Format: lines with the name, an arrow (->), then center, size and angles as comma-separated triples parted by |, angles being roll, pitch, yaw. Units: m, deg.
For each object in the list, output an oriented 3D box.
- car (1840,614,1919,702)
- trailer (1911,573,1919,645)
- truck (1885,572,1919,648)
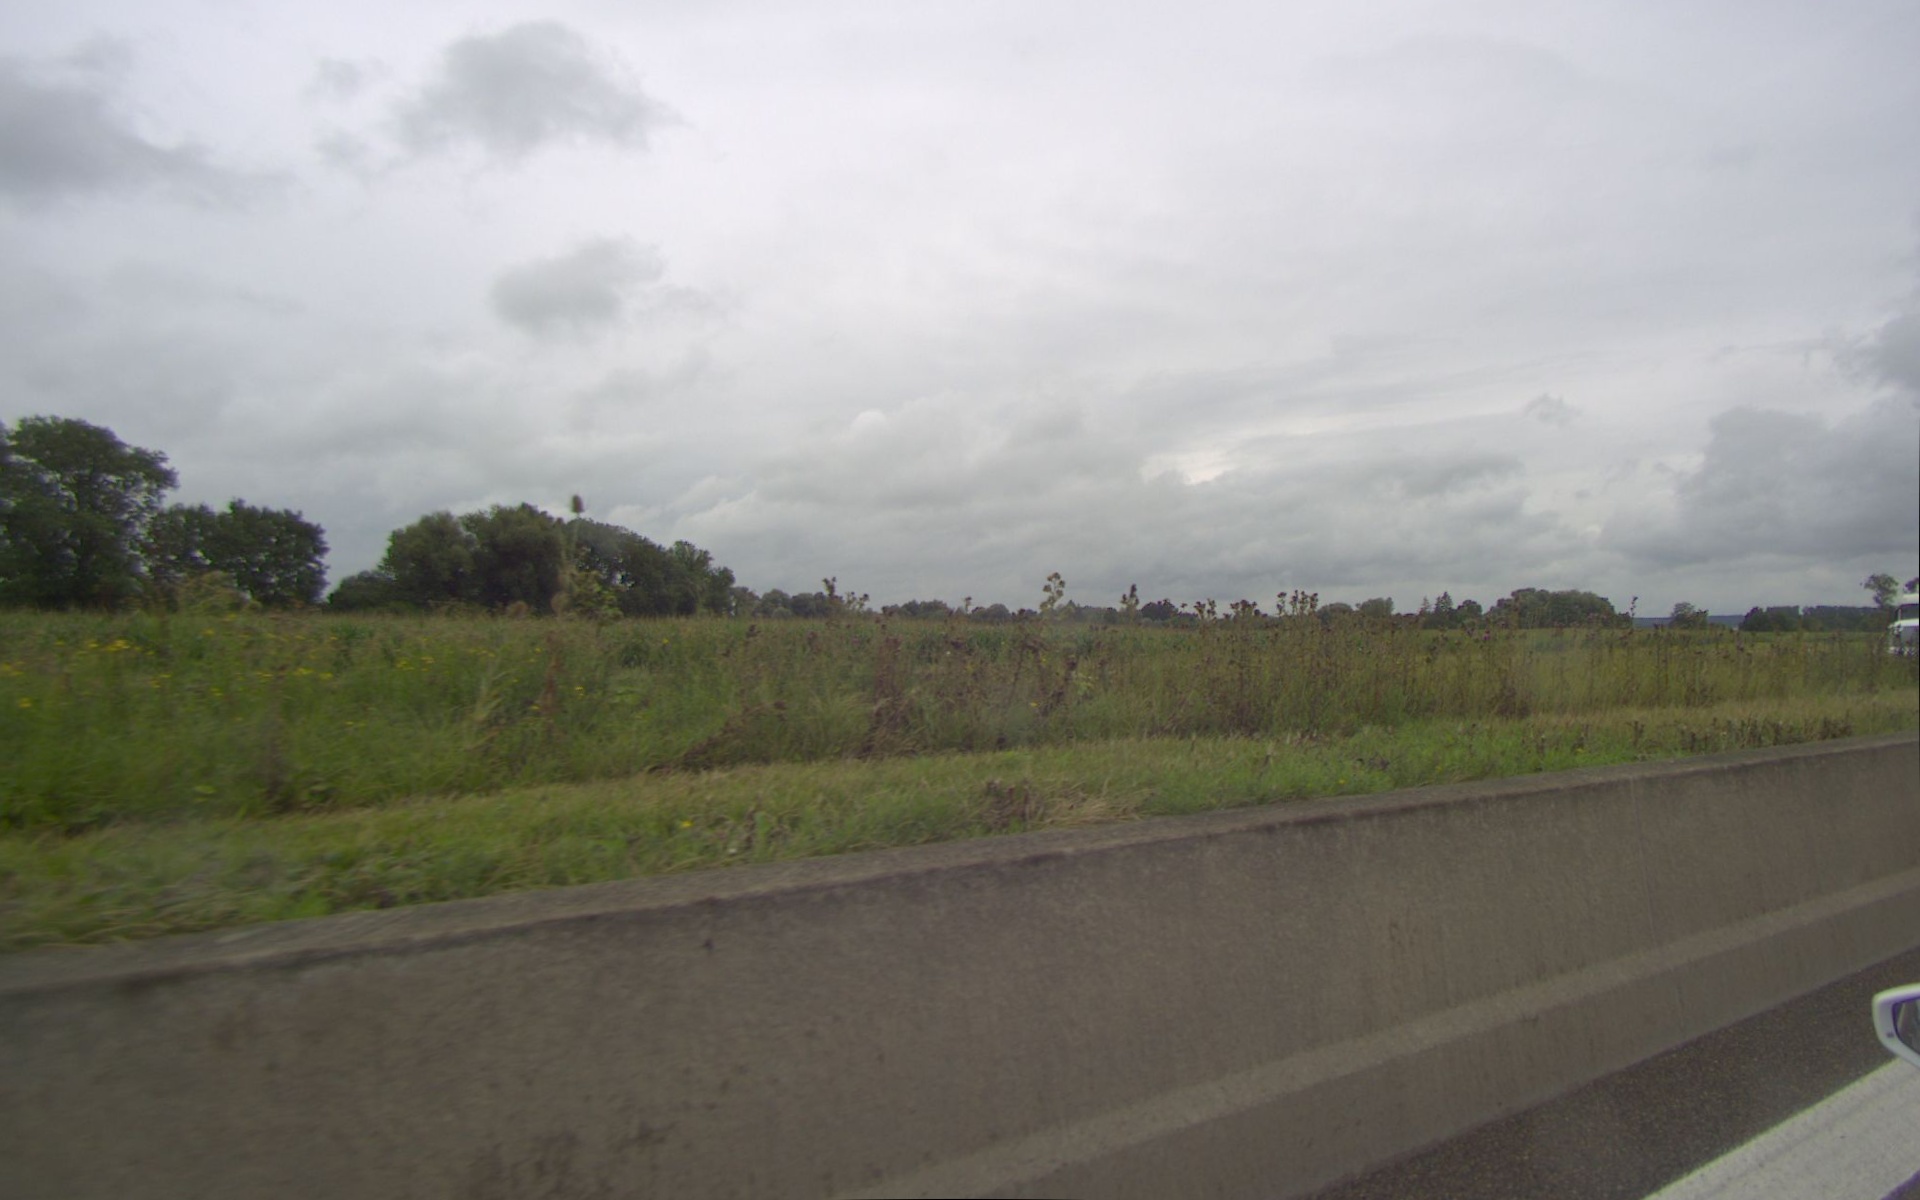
car -> 24.267, 1.411, 25.068 | 5.009, 2.040, 1.984 | 1, 0, -30
trailer -> 52.191, 0.601, 50.438 | 13.087, 3.474, 2.900 | 2, 0, -30
truck -> 46.078, 0.536, 46.781 | 5.564, 3.474, 2.954 | 2, 0, -31
